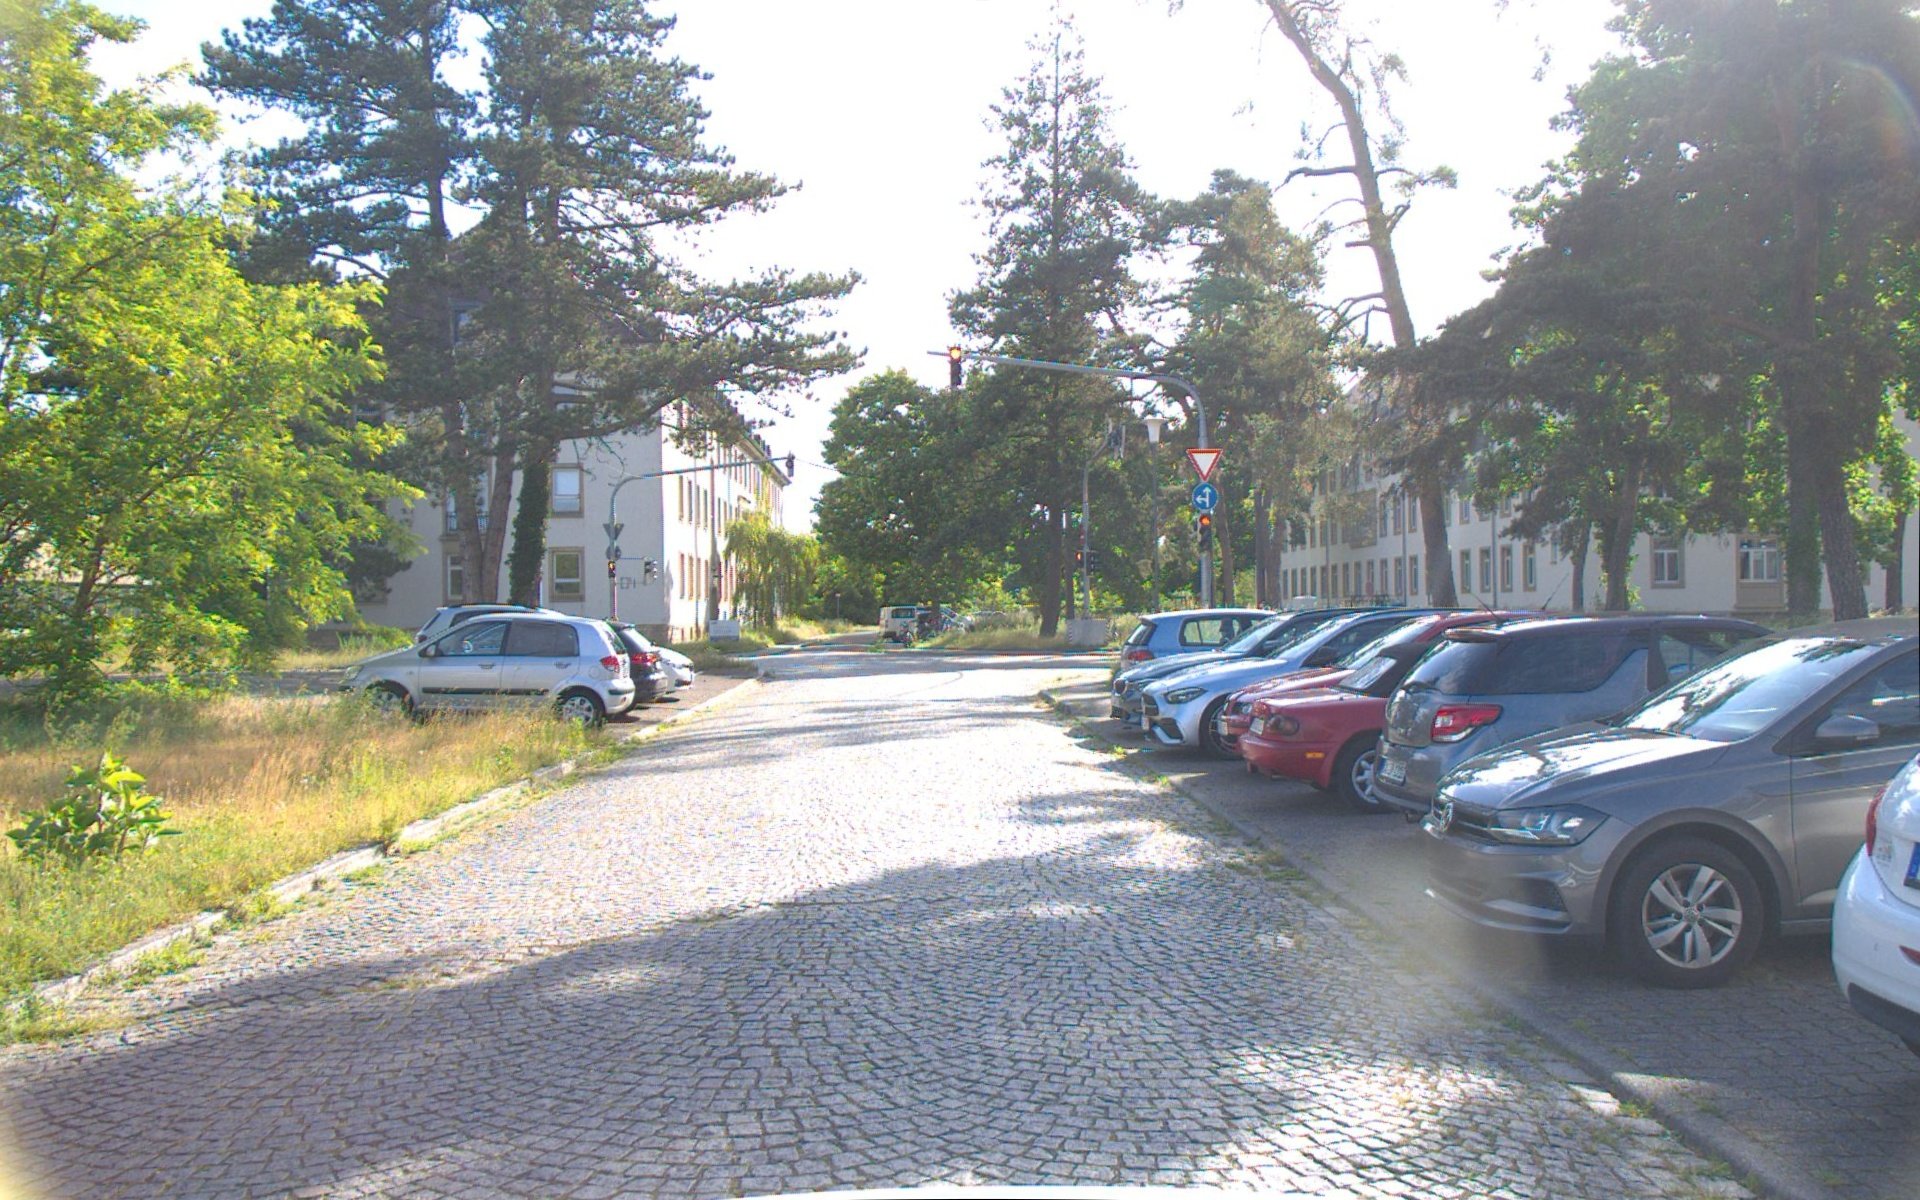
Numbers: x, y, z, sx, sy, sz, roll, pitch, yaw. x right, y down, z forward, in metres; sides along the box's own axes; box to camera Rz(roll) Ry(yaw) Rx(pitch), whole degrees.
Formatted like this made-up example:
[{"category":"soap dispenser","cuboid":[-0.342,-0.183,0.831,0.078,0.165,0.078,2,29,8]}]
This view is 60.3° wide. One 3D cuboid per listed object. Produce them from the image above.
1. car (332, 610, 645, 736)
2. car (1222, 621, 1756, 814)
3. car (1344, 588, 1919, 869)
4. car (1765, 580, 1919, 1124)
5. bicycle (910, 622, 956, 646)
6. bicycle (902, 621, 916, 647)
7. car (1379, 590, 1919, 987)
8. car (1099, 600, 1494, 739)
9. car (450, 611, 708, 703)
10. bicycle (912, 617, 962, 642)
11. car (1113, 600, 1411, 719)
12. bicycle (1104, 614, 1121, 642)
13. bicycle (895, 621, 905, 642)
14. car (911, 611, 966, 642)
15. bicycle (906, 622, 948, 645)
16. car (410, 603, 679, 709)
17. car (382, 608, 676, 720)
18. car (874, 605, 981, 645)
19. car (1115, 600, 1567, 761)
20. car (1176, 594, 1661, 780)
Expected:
[{"category":"car","cuboid":[-6.123,0.939,21.808,3.673,1.513,1.644,1,0,-5]},{"category":"car","cuboid":[4.058,0.877,13.112,3.632,1.244,1.746,-2,0,-1]},{"category":"car","cuboid":[4.507,0.738,10.527,3.633,1.474,1.816,-2,0,-2]},{"category":"car","cuboid":[4.567,0.659,4.727,3.632,1.561,1.760,-2,0,-1]},{"category":"bicycle","cuboid":[-1.206,1.493,73.499,1.968,1.028,0.630,1,-1,-10]},{"category":"bicycle","cuboid":[-2.095,1.396,68.162,0.458,1.028,1.584,1,-1,-5]},{"category":"car","cuboid":[4.004,0.728,7.584,3.632,1.474,1.856,-2,0,-1]},{"category":"car","cuboid":[4.045,0.811,20.313,4.467,1.440,1.636,-2,0,-2]},{"category":"car","cuboid":[-6.754,1.004,29.687,4.249,1.494,1.829,1,0,-5]},{"category":"bicycle","cuboid":[-0.993,1.291,71.850,2.070,1.028,0.619,1,-1,-10]},{"category":"car","cuboid":[4.147,0.800,23.096,3.804,1.440,1.636,-2,0,-2]},{"category":"bicycle","cuboid":[5.525,1.008,59.926,0.295,0.977,1.584,1,-1,-5]},{"category":"bicycle","cuboid":[-2.947,1.568,81.381,0.409,1.028,1.483,1,-1,-1]},{"category":"car","cuboid":[-1.127,1.384,86.269,2.728,1.492,1.669,1,-1,-6]},{"category":"bicycle","cuboid":[-1.509,1.519,75.245,1.804,1.028,0.634,1,-1,-10]},{"category":"car","cuboid":[-6.784,0.902,27.358,4.000,1.621,1.883,1,0,-5]},{"category":"car","cuboid":[-6.267,0.922,24.414,3.909,1.506,1.801,1,0,-5]},{"category":"car","cuboid":[-1.771,1.383,89.839,5.440,2.049,1.988,2,-1,-20]},{"category":"car","cuboid":[3.935,0.811,17.593,4.342,1.440,1.780,-2,0,-2]},{"category":"car","cuboid":[4.180,0.769,15.484,4.044,1.474,1.636,-2,0,-2]}]
